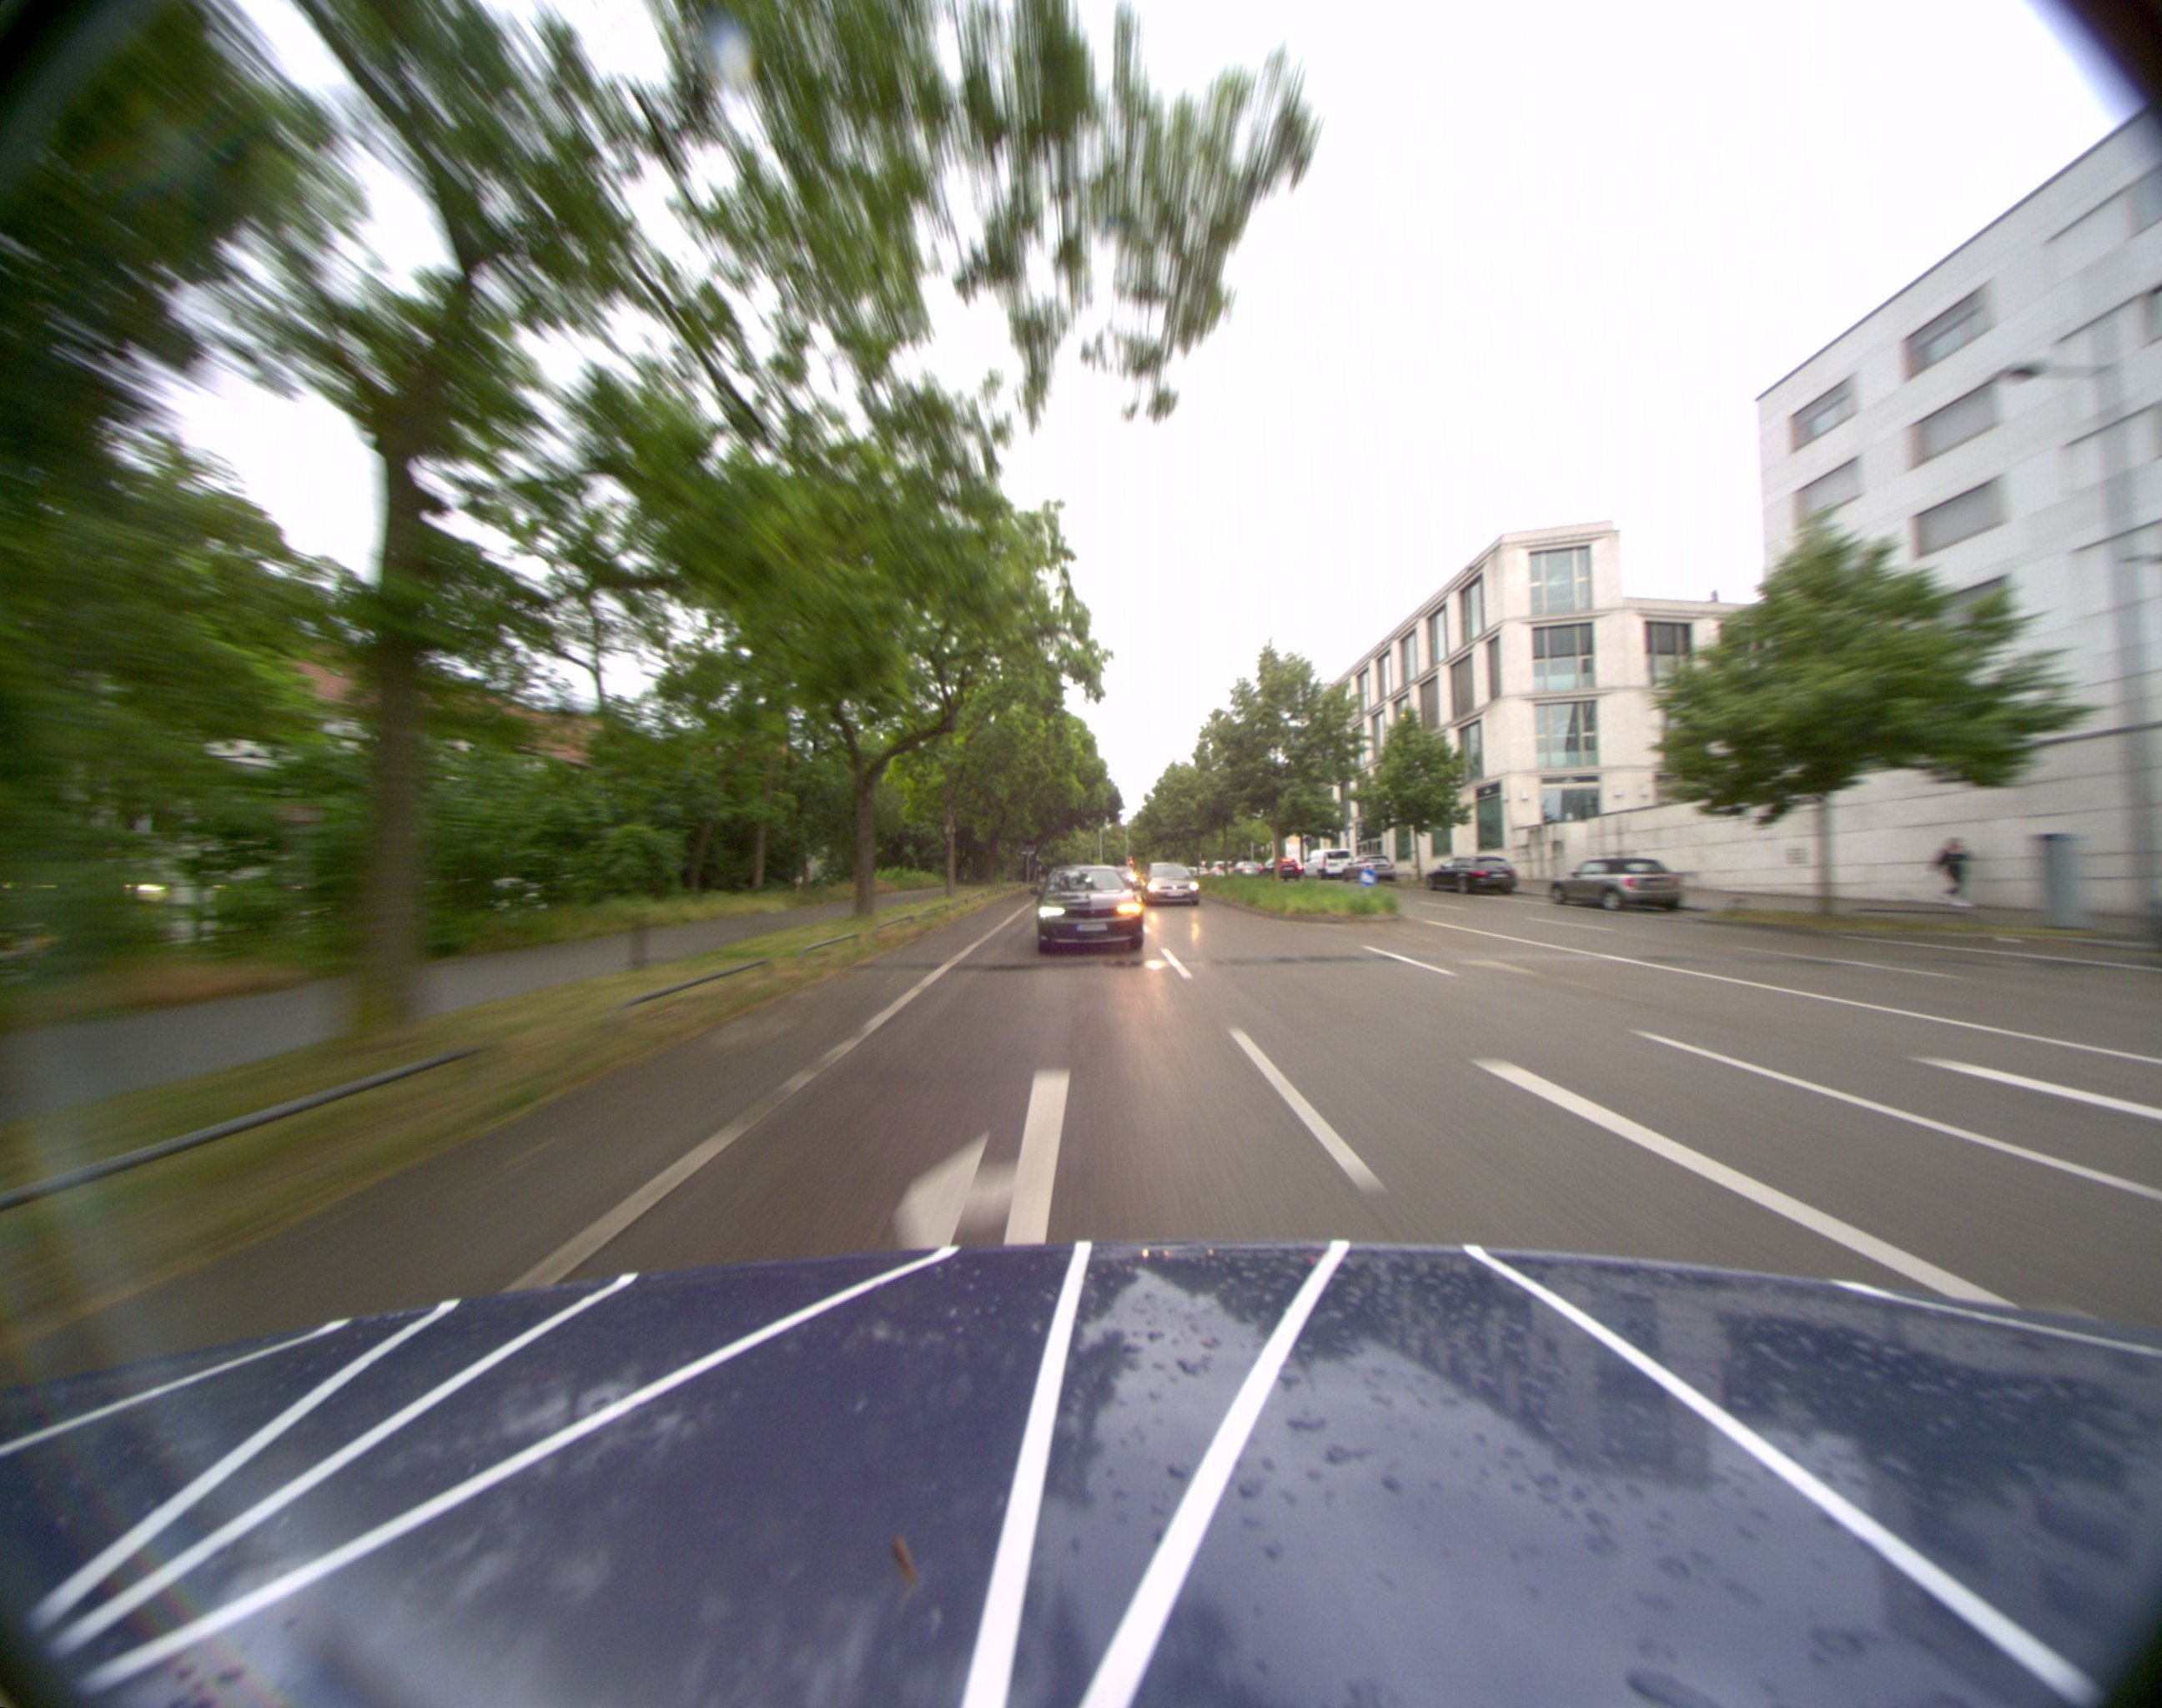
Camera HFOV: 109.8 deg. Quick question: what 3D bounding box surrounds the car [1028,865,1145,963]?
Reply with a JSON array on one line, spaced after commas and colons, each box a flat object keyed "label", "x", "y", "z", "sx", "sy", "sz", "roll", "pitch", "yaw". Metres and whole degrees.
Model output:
[{"label": "car", "x": 0.041, "y": 0.980, "z": 14.273, "sx": 1.804, "sy": 1.422, "sz": 4.519, "roll": -2, "pitch": 0, "yaw": -1}]

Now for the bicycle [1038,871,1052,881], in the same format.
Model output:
[{"label": "bicycle", "x": -4.206, "y": 2.587, "z": 88.960, "sx": 1.490, "sy": 1.124, "sz": 0.556, "roll": 2, "pitch": -1, "yaw": -6}]

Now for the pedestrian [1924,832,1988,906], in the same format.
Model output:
[{"label": "pedestrian", "x": 21.245, "y": 0.366, "z": 18.469, "sx": 0.720, "sy": 1.764, "sz": 0.692, "roll": -1, "pitch": 0, "yaw": 0}]

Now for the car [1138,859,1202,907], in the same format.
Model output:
[{"label": "car", "x": 3.018, "y": 1.006, "z": 26.544, "sx": 1.904, "sy": 1.430, "sz": 4.002, "roll": -4, "pitch": -2, "yaw": 3}]

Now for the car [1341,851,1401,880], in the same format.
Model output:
[{"label": "car", "x": 15.305, "y": 0.603, "z": 40.352, "sx": 1.699, "sy": 1.376, "sz": 3.698, "roll": -2, "pitch": 0, "yaw": -1}]

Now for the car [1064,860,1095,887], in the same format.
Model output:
[{"label": "car", "x": -0.126, "y": 1.254, "z": 47.599, "sx": 1.645, "sy": 1.511, "sz": 3.580, "roll": -1, "pitch": -3, "yaw": -4}]

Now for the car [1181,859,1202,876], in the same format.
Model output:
[{"label": "car", "x": 13.396, "y": 1.676, "z": 92.453, "sx": 1.848, "sy": 1.790, "sz": 4.776, "roll": -2, "pitch": -3, "yaw": 1}]

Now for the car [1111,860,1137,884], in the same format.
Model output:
[{"label": "car", "x": 3.052, "y": 1.281, "z": 53.517, "sx": 1.669, "sy": 1.520, "sz": 3.660, "roll": -2, "pitch": -3, "yaw": 4}]

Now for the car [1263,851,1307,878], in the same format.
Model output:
[{"label": "car", "x": 12.800, "y": 0.664, "z": 47.902, "sx": 1.699, "sy": 1.572, "sz": 4.017, "roll": -2, "pitch": 0, "yaw": 0}]

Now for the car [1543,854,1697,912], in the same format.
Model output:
[{"label": "car", "x": 15.152, "y": 0.766, "z": 21.644, "sx": 1.699, "sy": 1.436, "sz": 3.860, "roll": -2, "pitch": 0, "yaw": 2}]

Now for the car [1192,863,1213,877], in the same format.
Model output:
[{"label": "car", "x": 13.066, "y": 1.699, "z": 81.947, "sx": 1.748, "sy": 1.459, "sz": 4.061, "roll": 0, "pitch": -1, "yaw": 1}]

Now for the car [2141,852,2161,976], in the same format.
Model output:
[{"label": "car", "x": 14.942, "y": 0.793, "z": 7.925, "sx": 1.707, "sy": 1.611, "sz": 4.362, "roll": -1, "pitch": 1, "yaw": 1}]

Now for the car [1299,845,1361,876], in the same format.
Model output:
[{"label": "car", "x": 15.548, "y": 0.442, "z": 47.772, "sx": 2.127, "sy": 1.805, "sz": 5.261, "roll": -1, "pitch": -1, "yaw": -1}]

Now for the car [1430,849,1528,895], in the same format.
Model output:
[{"label": "car", "x": 15.203, "y": 0.627, "z": 29.271, "sx": 1.699, "sy": 1.572, "sz": 4.017, "roll": -2, "pitch": 1, "yaw": 1}]

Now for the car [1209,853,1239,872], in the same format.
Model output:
[{"label": "car", "x": 12.800, "y": 0.783, "z": 68.327, "sx": 1.834, "sy": 1.591, "sz": 4.675, "roll": -1, "pitch": -1, "yaw": 1}]

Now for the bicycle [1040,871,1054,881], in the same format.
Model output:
[{"label": "bicycle", "x": -3.961, "y": 2.580, "z": 88.006, "sx": 1.490, "sy": 1.124, "sz": 0.556, "roll": 2, "pitch": -1, "yaw": -6}]

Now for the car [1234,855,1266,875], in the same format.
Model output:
[{"label": "car", "x": 12.987, "y": 0.875, "z": 58.544, "sx": 1.645, "sy": 1.402, "sz": 3.998, "roll": 0, "pitch": -2, "yaw": 0}]
